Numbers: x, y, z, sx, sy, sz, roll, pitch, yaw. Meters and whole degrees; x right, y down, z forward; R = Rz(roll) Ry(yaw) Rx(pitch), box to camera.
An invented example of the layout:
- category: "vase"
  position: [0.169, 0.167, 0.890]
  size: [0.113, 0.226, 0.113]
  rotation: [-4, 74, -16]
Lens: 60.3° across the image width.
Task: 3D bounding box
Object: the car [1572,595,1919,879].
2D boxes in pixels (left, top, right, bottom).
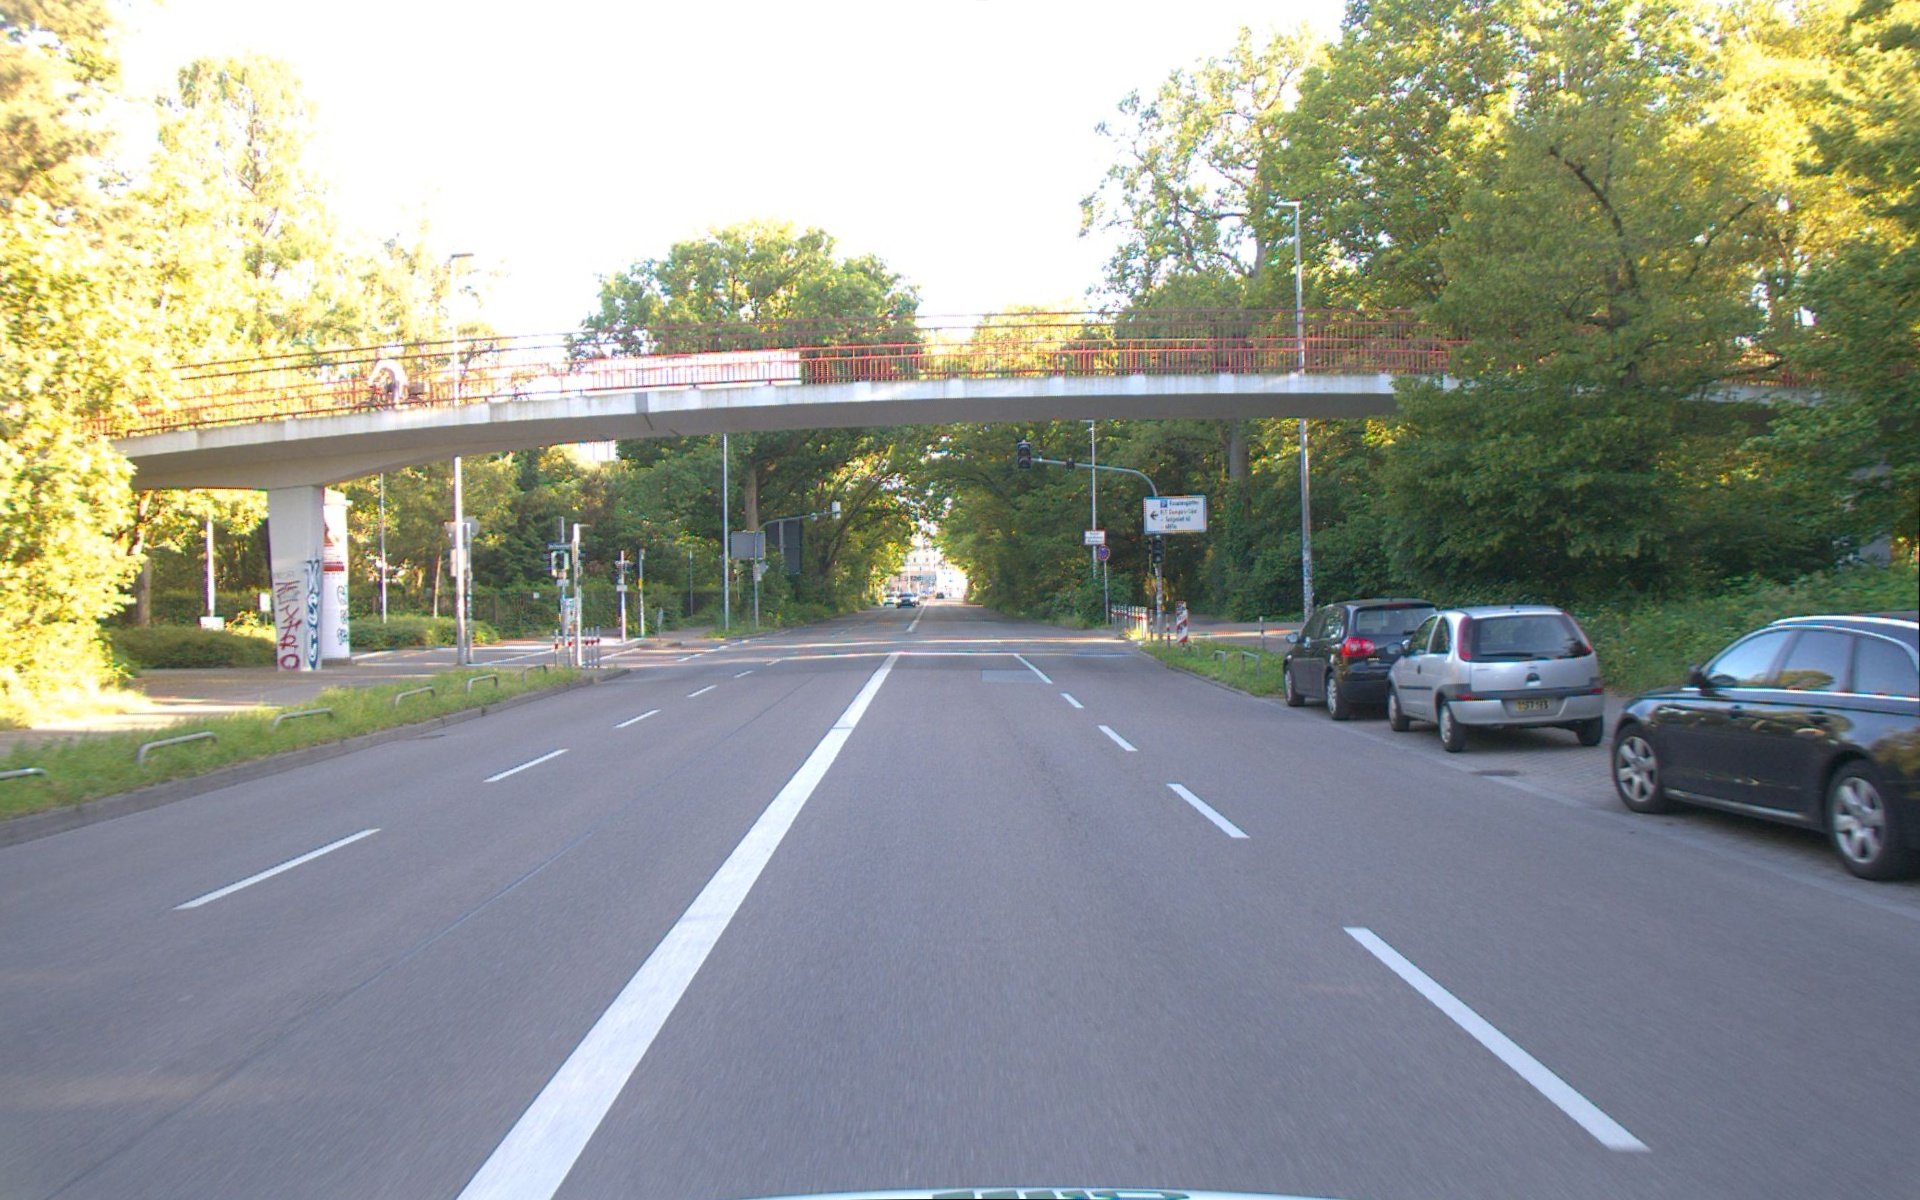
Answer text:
- category: "car"
  position: [5.901, 0.728, 10.796]
  size: [1.739, 1.479, 5.035]
  rotation: [-2, 0, -2]

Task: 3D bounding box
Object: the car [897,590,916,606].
- category: "car"
  position: [-5.396, -0.169, 166.581]
  size: [1.849, 1.533, 4.362]
  rotation: [-2, 0, -2]

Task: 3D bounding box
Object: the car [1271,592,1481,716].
- category: "car"
  position: [5.586, 0.674, 22.775]
  size: [1.738, 1.479, 4.387]
  rotation: [-2, 0, 0]

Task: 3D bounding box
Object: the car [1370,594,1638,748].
- category: "car"
  position: [5.880, 0.703, 18.370]
  size: [1.737, 1.479, 4.015]
  rotation: [-2, 0, 2]

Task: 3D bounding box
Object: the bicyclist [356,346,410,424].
- category: "bicyclist"
  position: [-12.728, -4.735, 36.500]
  size: [0.951, 1.614, 0.714]
  rotation: [0, -1, -3]

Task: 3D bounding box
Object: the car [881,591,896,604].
- category: "car"
  position: [-8.841, -0.264, 204.979]
  size: [1.761, 1.533, 4.362]
  rotation: [-2, 0, -2]

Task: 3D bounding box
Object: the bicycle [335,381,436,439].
- category: "bicycle"
  position: [-12.667, -4.183, 36.498]
  size: [1.947, 1.167, 0.714]
  rotation: [0, -1, -3]
